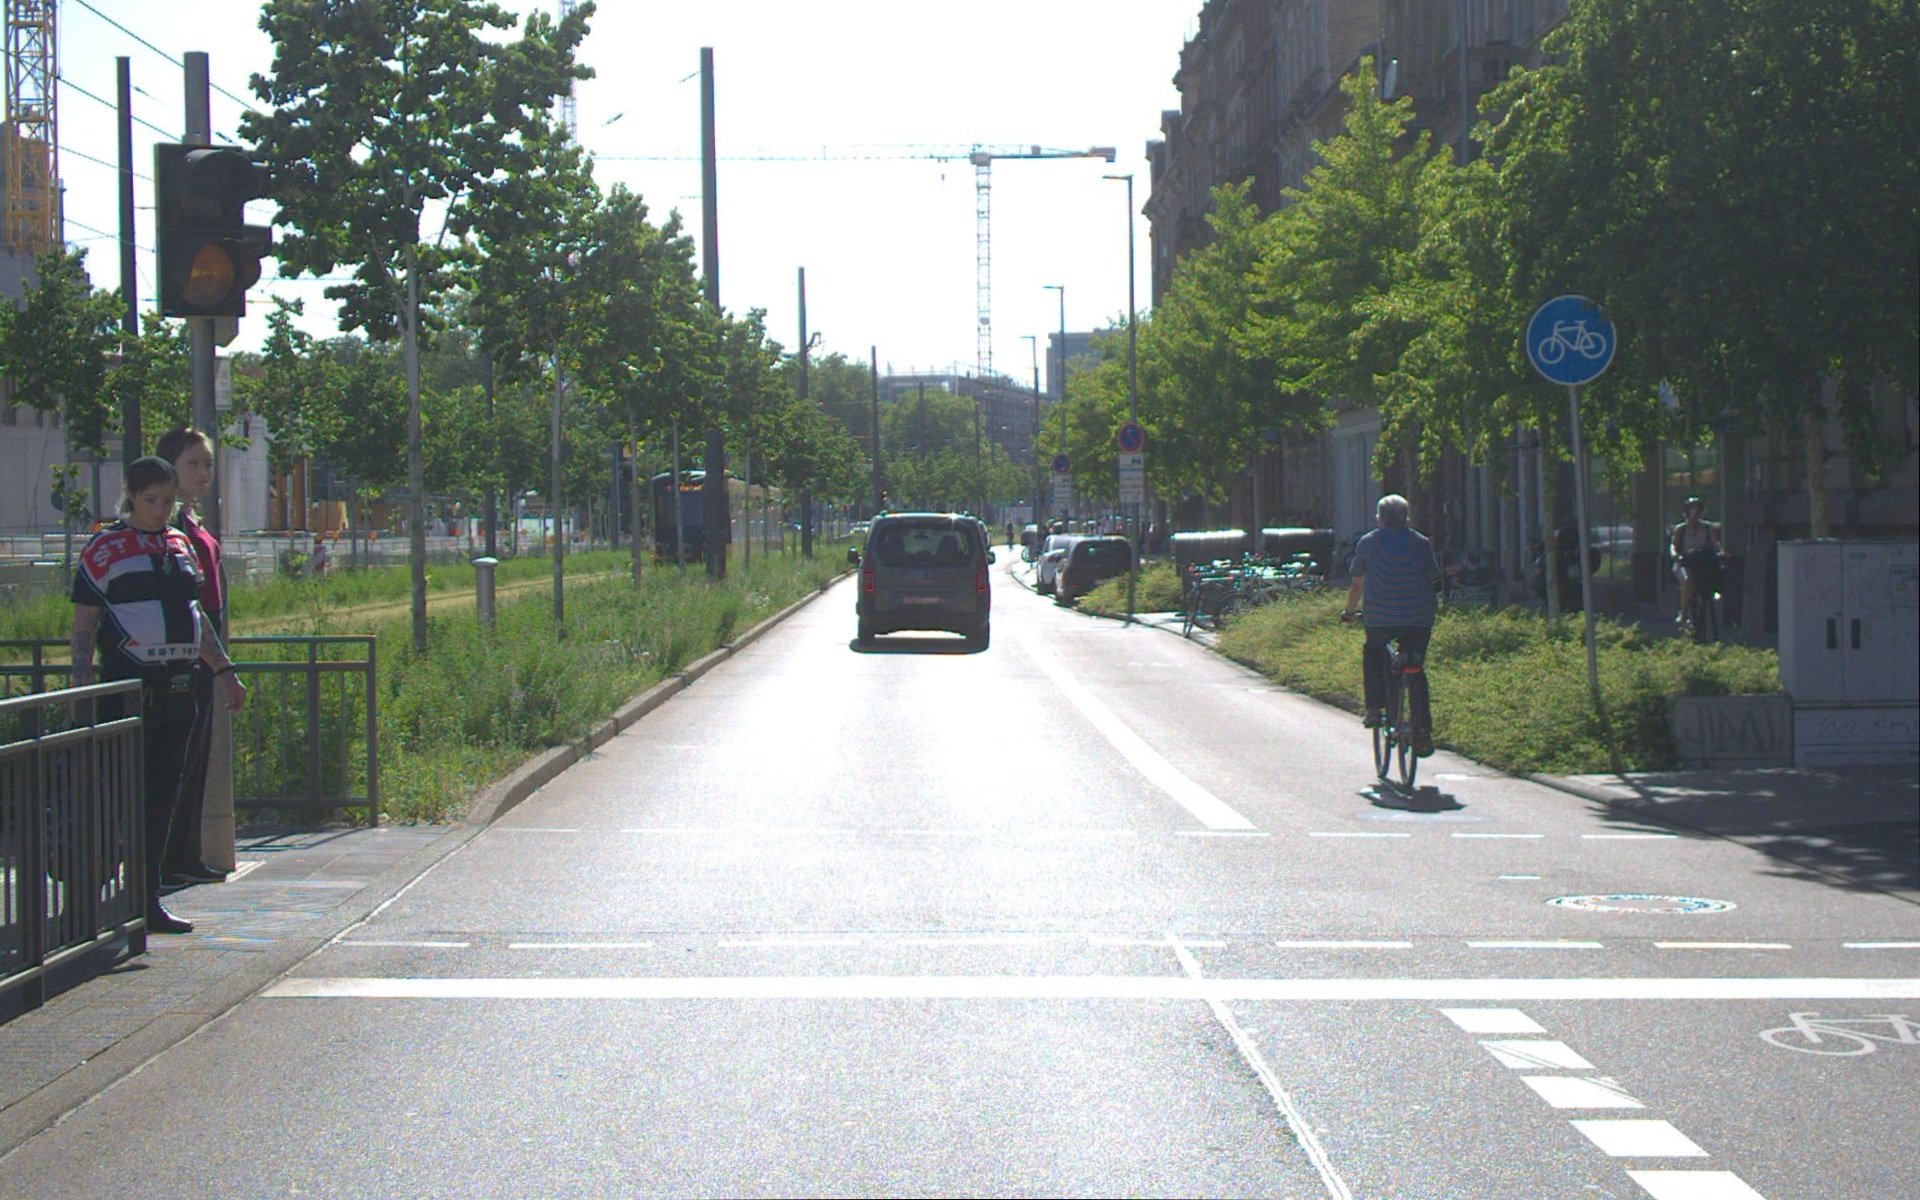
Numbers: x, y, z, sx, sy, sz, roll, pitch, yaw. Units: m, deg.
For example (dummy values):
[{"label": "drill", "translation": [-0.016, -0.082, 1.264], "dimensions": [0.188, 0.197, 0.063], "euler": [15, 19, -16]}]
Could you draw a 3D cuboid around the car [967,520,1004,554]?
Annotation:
[{"label": "car", "translation": [1.405, -3.533, 193.139], "dimensions": [1.993, 1.831, 4.000], "euler": [1, 1, -1]}]

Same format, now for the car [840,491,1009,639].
[{"label": "car", "translation": [-0.512, -0.506, 47.800], "dimensions": [2.200, 1.919, 4.654], "euler": [-1, 1, -1]}]

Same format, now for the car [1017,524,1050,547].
[{"label": "car", "translation": [4.892, -4.333, 229.396], "dimensions": [2.028, 1.493, 4.331], "euler": [-1, 1, -1]}]

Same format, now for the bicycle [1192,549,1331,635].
[{"label": "bicycle", "translation": [4.171, -0.120, 47.614], "dimensions": [1.792, 1.027, 0.527], "euler": [-5, 1, -1]}]

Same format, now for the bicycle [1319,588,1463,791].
[{"label": "bicycle", "translation": [2.694, 0.538, 21.650], "dimensions": [0.601, 1.177, 1.869], "euler": [1, 1, -1]}]

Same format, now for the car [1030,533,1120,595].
[{"label": "car", "translation": [2.906, -0.940, 87.702], "dimensions": [2.028, 1.493, 4.530], "euler": [-1, 1, -1]}]

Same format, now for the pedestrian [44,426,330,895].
[{"label": "pedestrian", "translation": [-3.228, 0.239, 14.438], "dimensions": [1.075, 1.902, 0.653], "euler": [-1, 1, -7]}]

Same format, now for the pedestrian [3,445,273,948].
[{"label": "pedestrian", "translation": [-3.014, 0.331, 12.695], "dimensions": [0.865, 1.782, 0.971], "euler": [0, 1, -7]}]

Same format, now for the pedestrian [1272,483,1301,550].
[{"label": "pedestrian", "translation": [7.903, -2.013, 83.165], "dimensions": [0.614, 1.606, 0.669], "euler": [-1, 1, -1]}]

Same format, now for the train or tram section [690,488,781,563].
[{"label": "train or tram section", "translation": [-8.532, -2.789, 131.824], "dimensions": [2.756, 2.733, 9.864], "euler": [1, 1, 0]}]

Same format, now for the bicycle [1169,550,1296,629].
[{"label": "bicycle", "translation": [4.112, -0.164, 51.873], "dimensions": [1.792, 1.027, 0.527], "euler": [-5, 1, -1]}]

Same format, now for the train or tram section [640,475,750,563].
[{"label": "train or tram section", "translation": [-8.569, -2.578, 112.150], "dimensions": [2.756, 2.733, 9.864], "euler": [1, 1, 0]}]

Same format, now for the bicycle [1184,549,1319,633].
[{"label": "bicycle", "translation": [4.145, -0.135, 48.988], "dimensions": [1.792, 1.027, 0.527], "euler": [-5, 1, -1]}]

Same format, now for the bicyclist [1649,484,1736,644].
[{"label": "bicyclist", "translation": [7.603, -0.382, 35.698], "dimensions": [0.666, 1.633, 0.960], "euler": [-1, 1, -1]}]

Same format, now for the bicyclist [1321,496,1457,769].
[{"label": "bicyclist", "translation": [2.693, 0.192, 21.639], "dimensions": [0.684, 1.667, 0.922], "euler": [1, 1, -1]}]

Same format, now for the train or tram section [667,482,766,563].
[{"label": "train or tram section", "translation": [-8.565, -2.684, 121.998], "dimensions": [2.756, 2.733, 9.864], "euler": [1, 1, 0]}]

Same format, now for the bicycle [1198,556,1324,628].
[{"label": "bicycle", "translation": [4.419, -0.121, 50.499], "dimensions": [1.792, 1.027, 0.527], "euler": [-1, 1, -1]}]

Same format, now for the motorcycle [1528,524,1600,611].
[{"label": "motorcycle", "translation": [9.146, -0.506, 52.080], "dimensions": [0.700, 1.263, 1.982], "euler": [-1, 1, -1]}]

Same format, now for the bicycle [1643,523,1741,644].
[{"label": "bicycle", "translation": [7.589, -0.188, 35.695], "dimensions": [0.583, 1.218, 1.900], "euler": [-1, 1, -1]}]

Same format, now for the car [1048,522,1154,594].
[{"label": "car", "translation": [3.050, -0.933, 75.348], "dimensions": [2.028, 1.493, 4.654], "euler": [-1, 1, -1]}]
